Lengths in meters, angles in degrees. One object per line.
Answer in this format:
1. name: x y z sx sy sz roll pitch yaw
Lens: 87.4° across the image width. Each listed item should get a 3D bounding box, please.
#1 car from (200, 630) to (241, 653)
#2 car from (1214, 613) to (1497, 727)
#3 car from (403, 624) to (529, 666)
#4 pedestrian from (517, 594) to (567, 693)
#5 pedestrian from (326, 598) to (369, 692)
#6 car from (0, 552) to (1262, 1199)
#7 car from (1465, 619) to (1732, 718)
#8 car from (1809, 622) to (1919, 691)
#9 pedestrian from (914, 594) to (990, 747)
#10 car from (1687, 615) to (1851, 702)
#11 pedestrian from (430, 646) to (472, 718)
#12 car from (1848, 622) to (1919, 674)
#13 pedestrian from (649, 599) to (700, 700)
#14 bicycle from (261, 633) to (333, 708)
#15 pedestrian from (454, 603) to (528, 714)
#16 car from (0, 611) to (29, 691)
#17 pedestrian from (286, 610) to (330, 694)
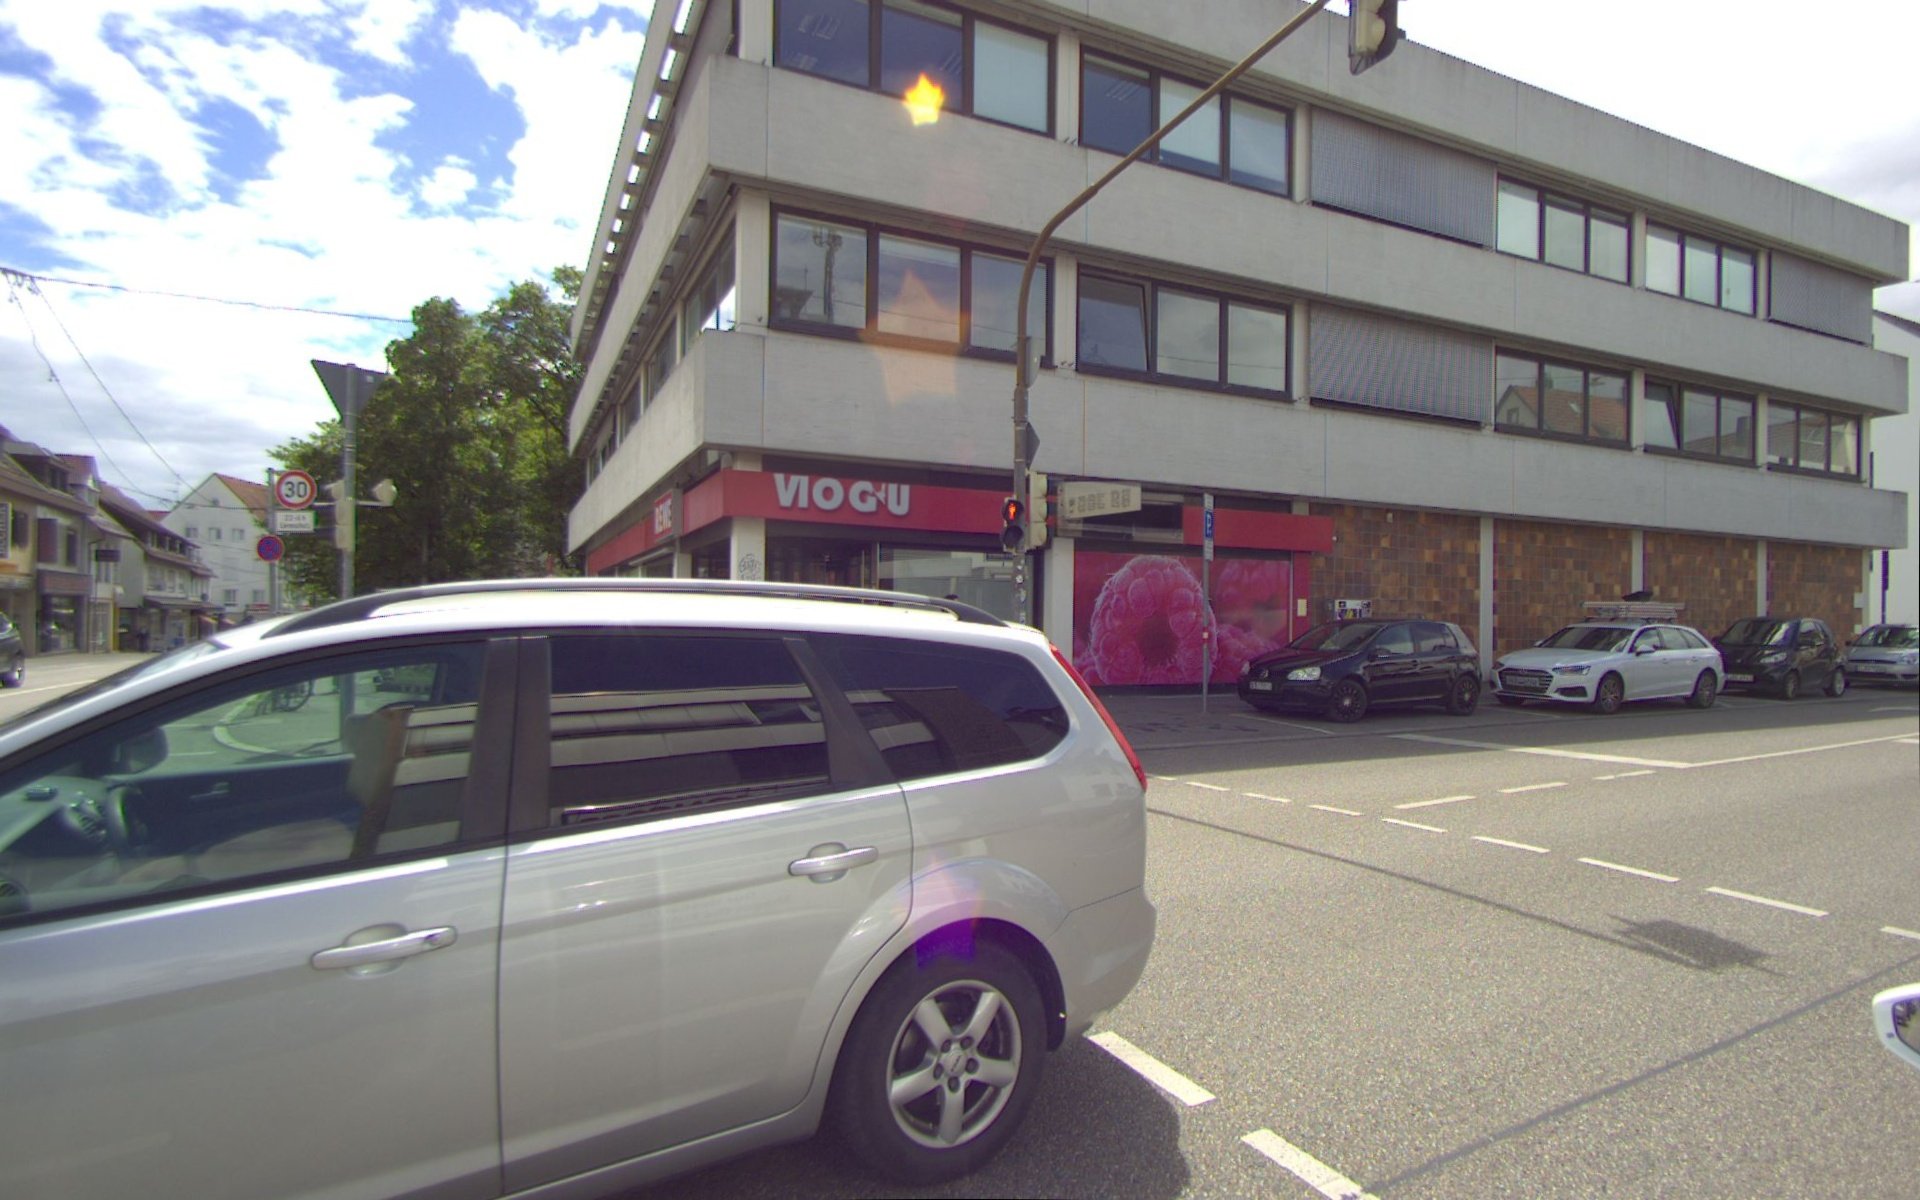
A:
1. car: -53.714 2.987 73.008 1.898 1.595 4.296 0 -2 -30
2. car: 6.017 0.986 15.242 4.034 1.484 1.778 1 0 -27
3. car: -16.593 1.488 33.925 3.670 1.338 1.775 0 -1 -21
4. pedestrian: -7.775 0.798 18.693 0.612 1.799 0.554 1 -1 35
5. pedestrian: -12.470 0.904 20.455 0.671 1.860 0.727 0 -1 -38
6. car: -1.280 0.720 2.667 4.167 1.574 1.660 0 0 -31
7. car: 10.974 1.080 17.245 4.385 1.463 1.897 1 1 -27
8. car: 21.441 1.243 23.019 3.814 1.445 1.748 0 -2 -28
9. pedestrian: -0.096 0.781 11.375 0.652 1.663 0.616 0 -1 -29
10. car: 16.111 1.109 20.002 2.909 1.564 1.600 0 1 -30
11. pedestrian: -7.443 1.188 14.685 0.357 1.018 0.384 1 -1 34
12. car: 27.942 1.369 29.353 3.796 1.416 1.898 1 -1 -30
13. pedestrian: -5.098 0.871 17.983 0.381 1.762 0.779 1 -1 30
14. bicycle: -10.877 1.132 16.454 0.770 1.157 1.866 1 -3 -40
15. pedestrian: -7.147 0.876 15.310 0.712 1.618 0.695 1 -1 33
16. car: -19.944 1.014 19.475 1.898 1.595 3.969 0 -2 -30
17. pedestrian: -12.711 1.000 19.587 0.671 1.598 0.727 0 -1 -38
